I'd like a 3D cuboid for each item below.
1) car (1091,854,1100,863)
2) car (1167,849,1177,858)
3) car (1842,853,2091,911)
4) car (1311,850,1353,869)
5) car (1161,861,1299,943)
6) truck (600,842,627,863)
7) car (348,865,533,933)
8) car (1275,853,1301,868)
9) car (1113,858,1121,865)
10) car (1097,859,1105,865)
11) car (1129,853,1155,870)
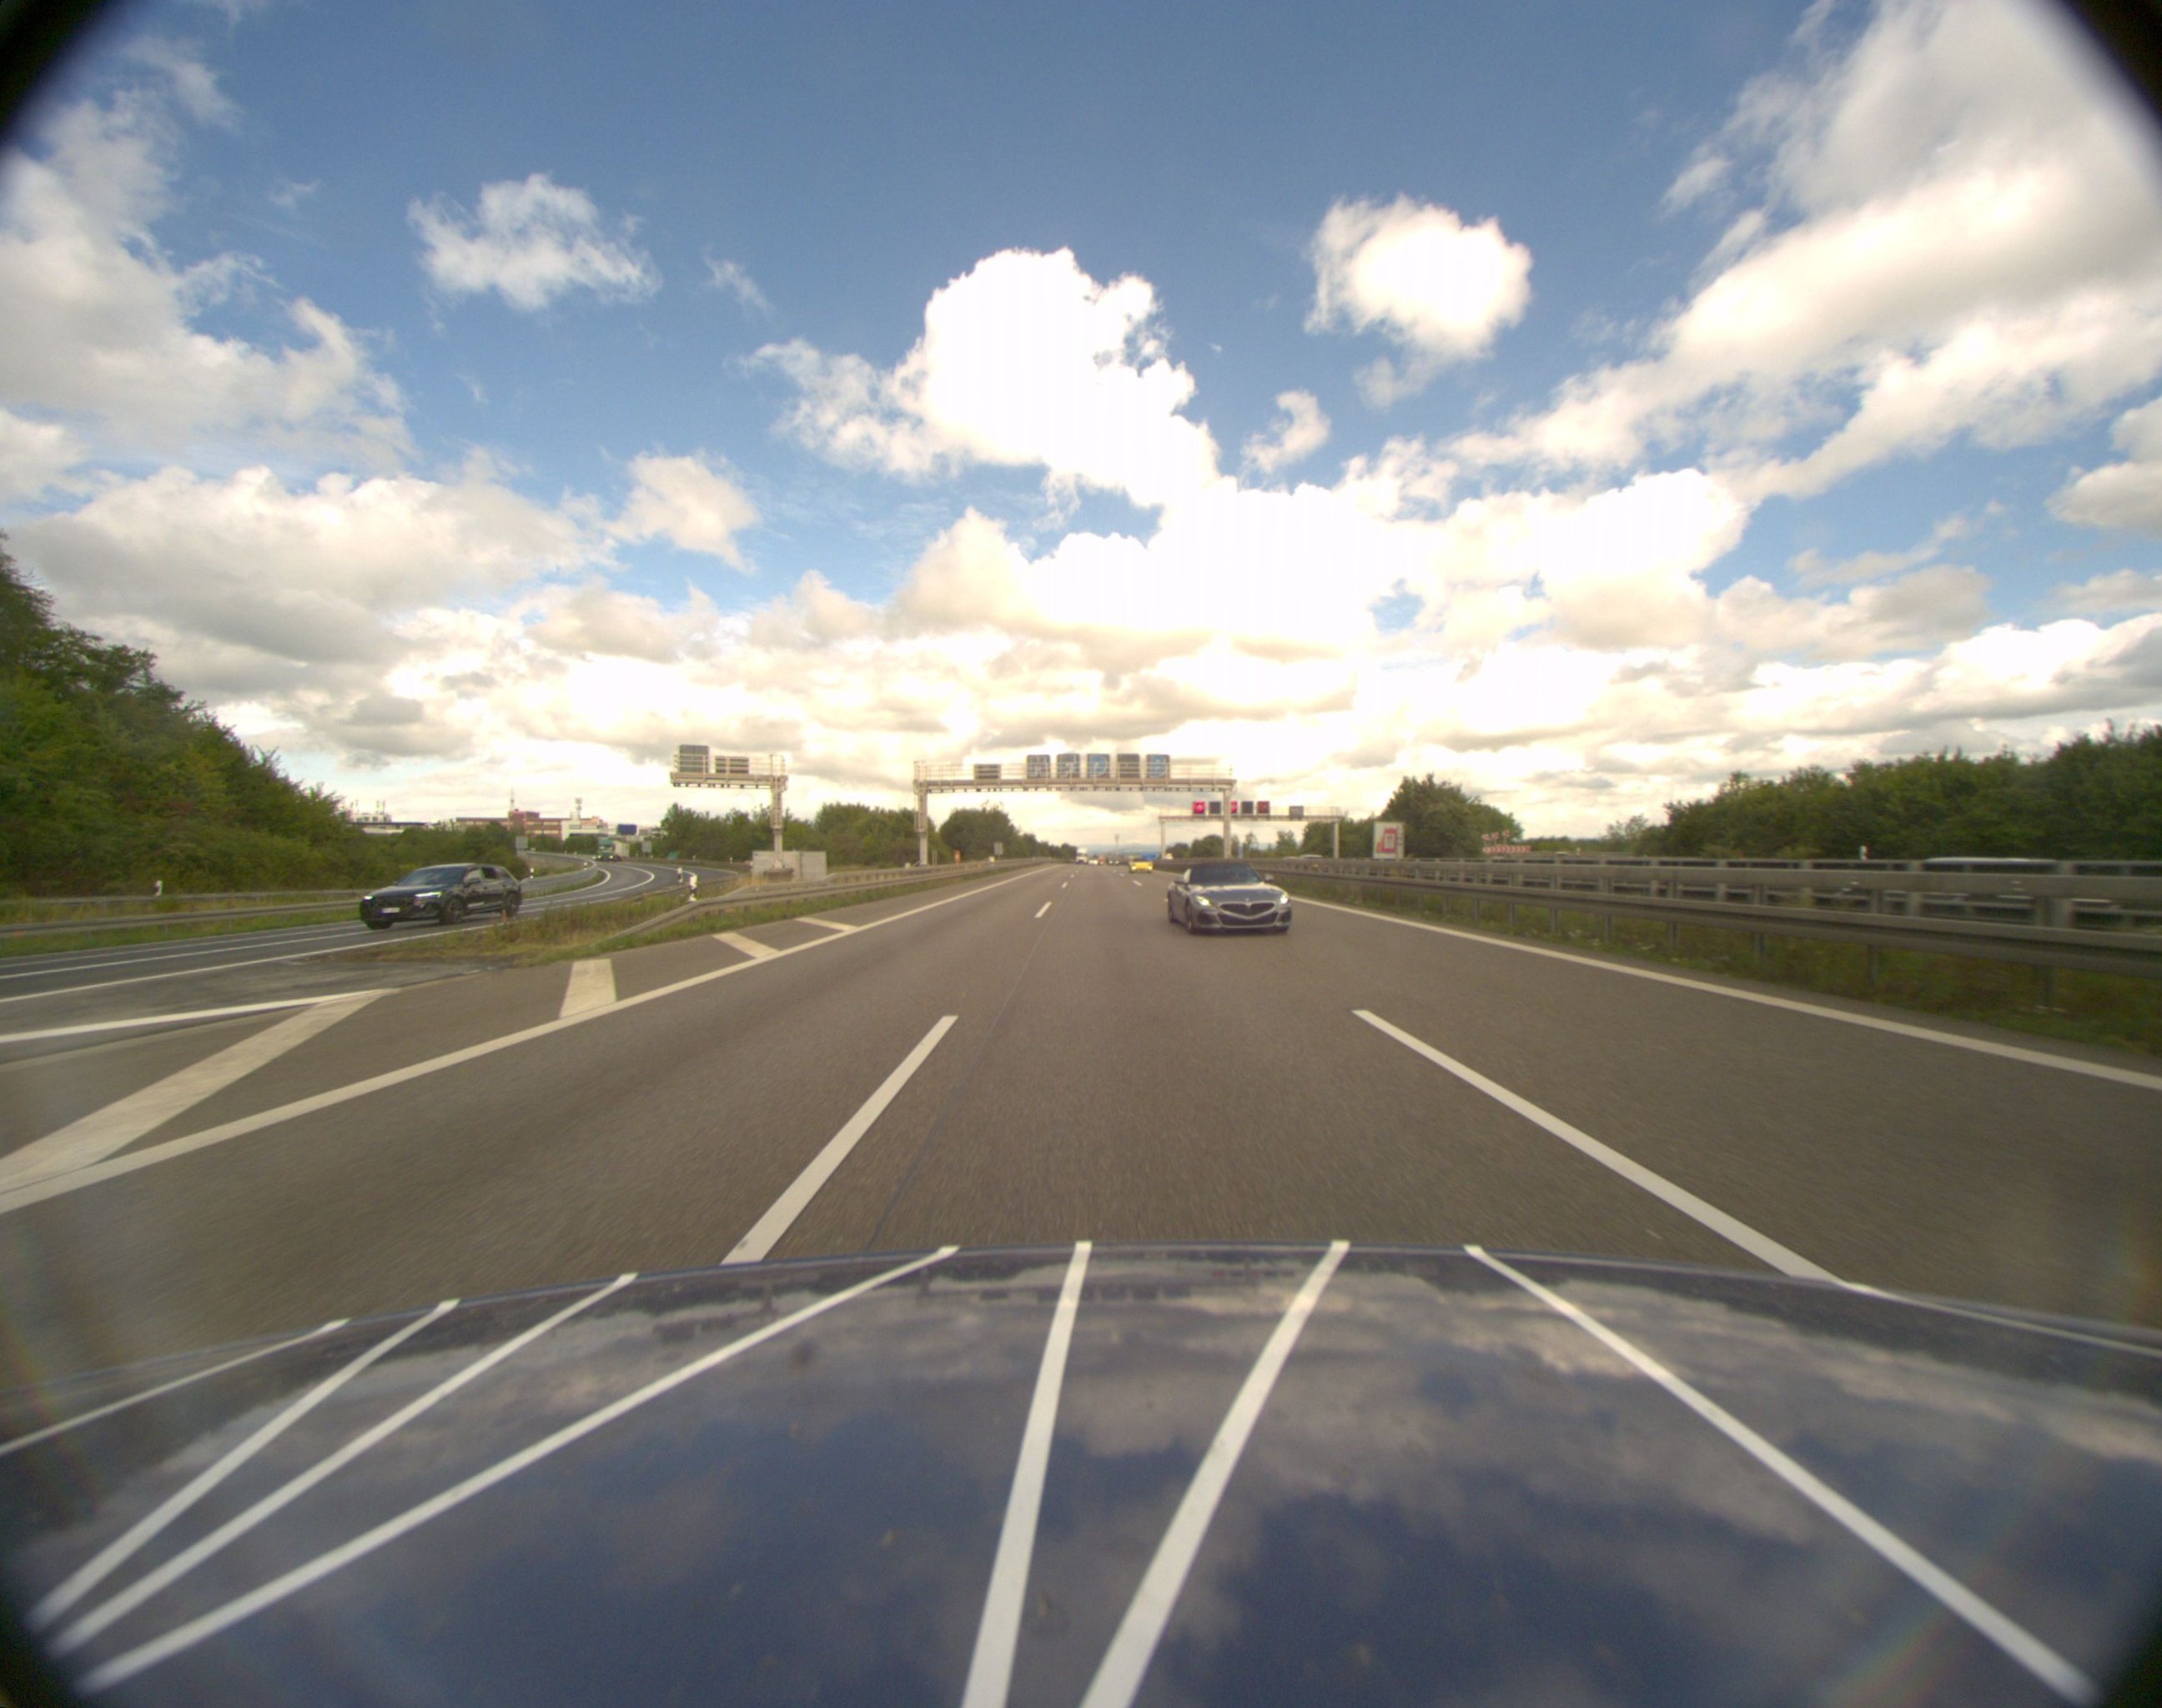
[{"bbox_3d":[2.705,0.804,142.948,1.737,1.608,4.000,-1,0,1],"label":"car"},{"bbox_3d":[23.351,-0.118,194.638,2.003,2.271,4.577,-1,1,-1],"label":"car"},{"bbox_3d":[21.243,0.612,18.500,1.528,1.212,3.875,-2,0,0],"label":"car"},{"bbox_3d":[17.499,0.379,53.154,1.528,1.212,4.114,-2,0,0],"label":"car"},{"bbox_3d":[2.829,0.847,15.601,1.878,1.295,4.942,-1,0,0],"label":"car"},{"bbox_3d":[-87.163,-0.216,141.786,2.974,3.775,13.433,-2,0,-27],"label":"truck"},{"bbox_3d":[-18.448,1.212,22.261,1.877,1.626,4.854,-1,1,-10],"label":"car"},{"bbox_3d":[21.432,0.664,78.776,1.528,1.394,3.875,-2,0,0],"label":"car"},{"bbox_3d":[7.554,1.576,159.645,1.593,1.307,3.977,1,0,0],"label":"car"},{"bbox_3d":[5.391,2.191,209.355,1.999,1.619,4.429,0,0,0],"label":"car"},{"bbox_3d":[5.166,0.617,64.664,1.811,1.307,4.247,1,0,0],"label":"car"}]
